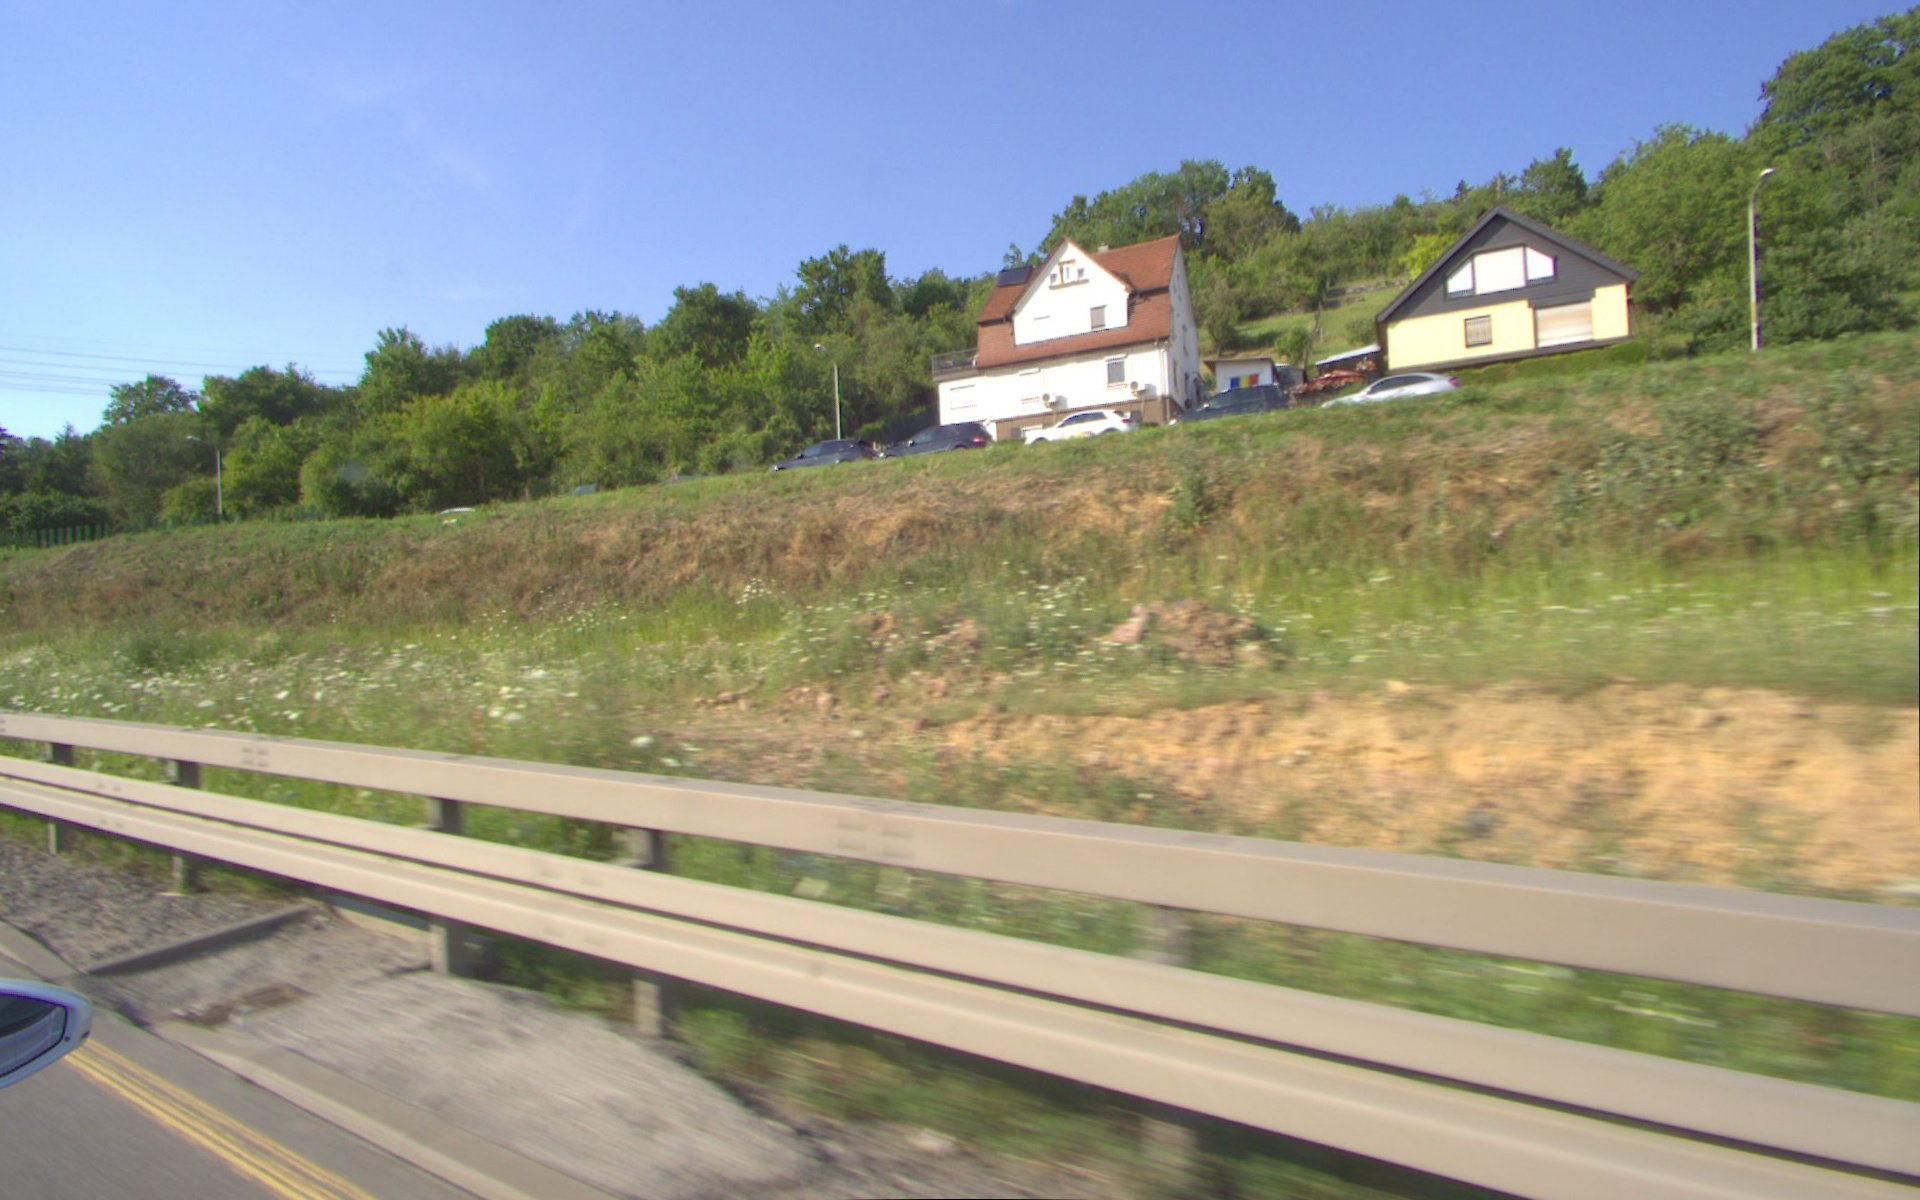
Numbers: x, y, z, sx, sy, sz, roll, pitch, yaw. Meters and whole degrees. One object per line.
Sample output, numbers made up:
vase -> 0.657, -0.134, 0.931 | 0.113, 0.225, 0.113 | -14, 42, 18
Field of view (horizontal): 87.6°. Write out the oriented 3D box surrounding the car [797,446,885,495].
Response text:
car -> -4.654, -5.048, 39.189 | 3.179, 1.476, 1.359 | -1, -2, 24

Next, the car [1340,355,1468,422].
car -> 13.498, -6.418, 30.595 | 3.497, 1.389, 1.448 | -1, -2, 22

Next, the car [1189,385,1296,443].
car -> 9.240, -6.043, 32.740 | 3.286, 1.340, 1.346 | -1, -2, 21

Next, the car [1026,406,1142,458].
car -> 4.337, -5.880, 35.186 | 3.835, 1.248, 1.345 | -1, -2, 23

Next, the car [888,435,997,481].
car -> -0.638, -5.239, 37.183 | 3.833, 1.248, 1.346 | -1, -2, 21
